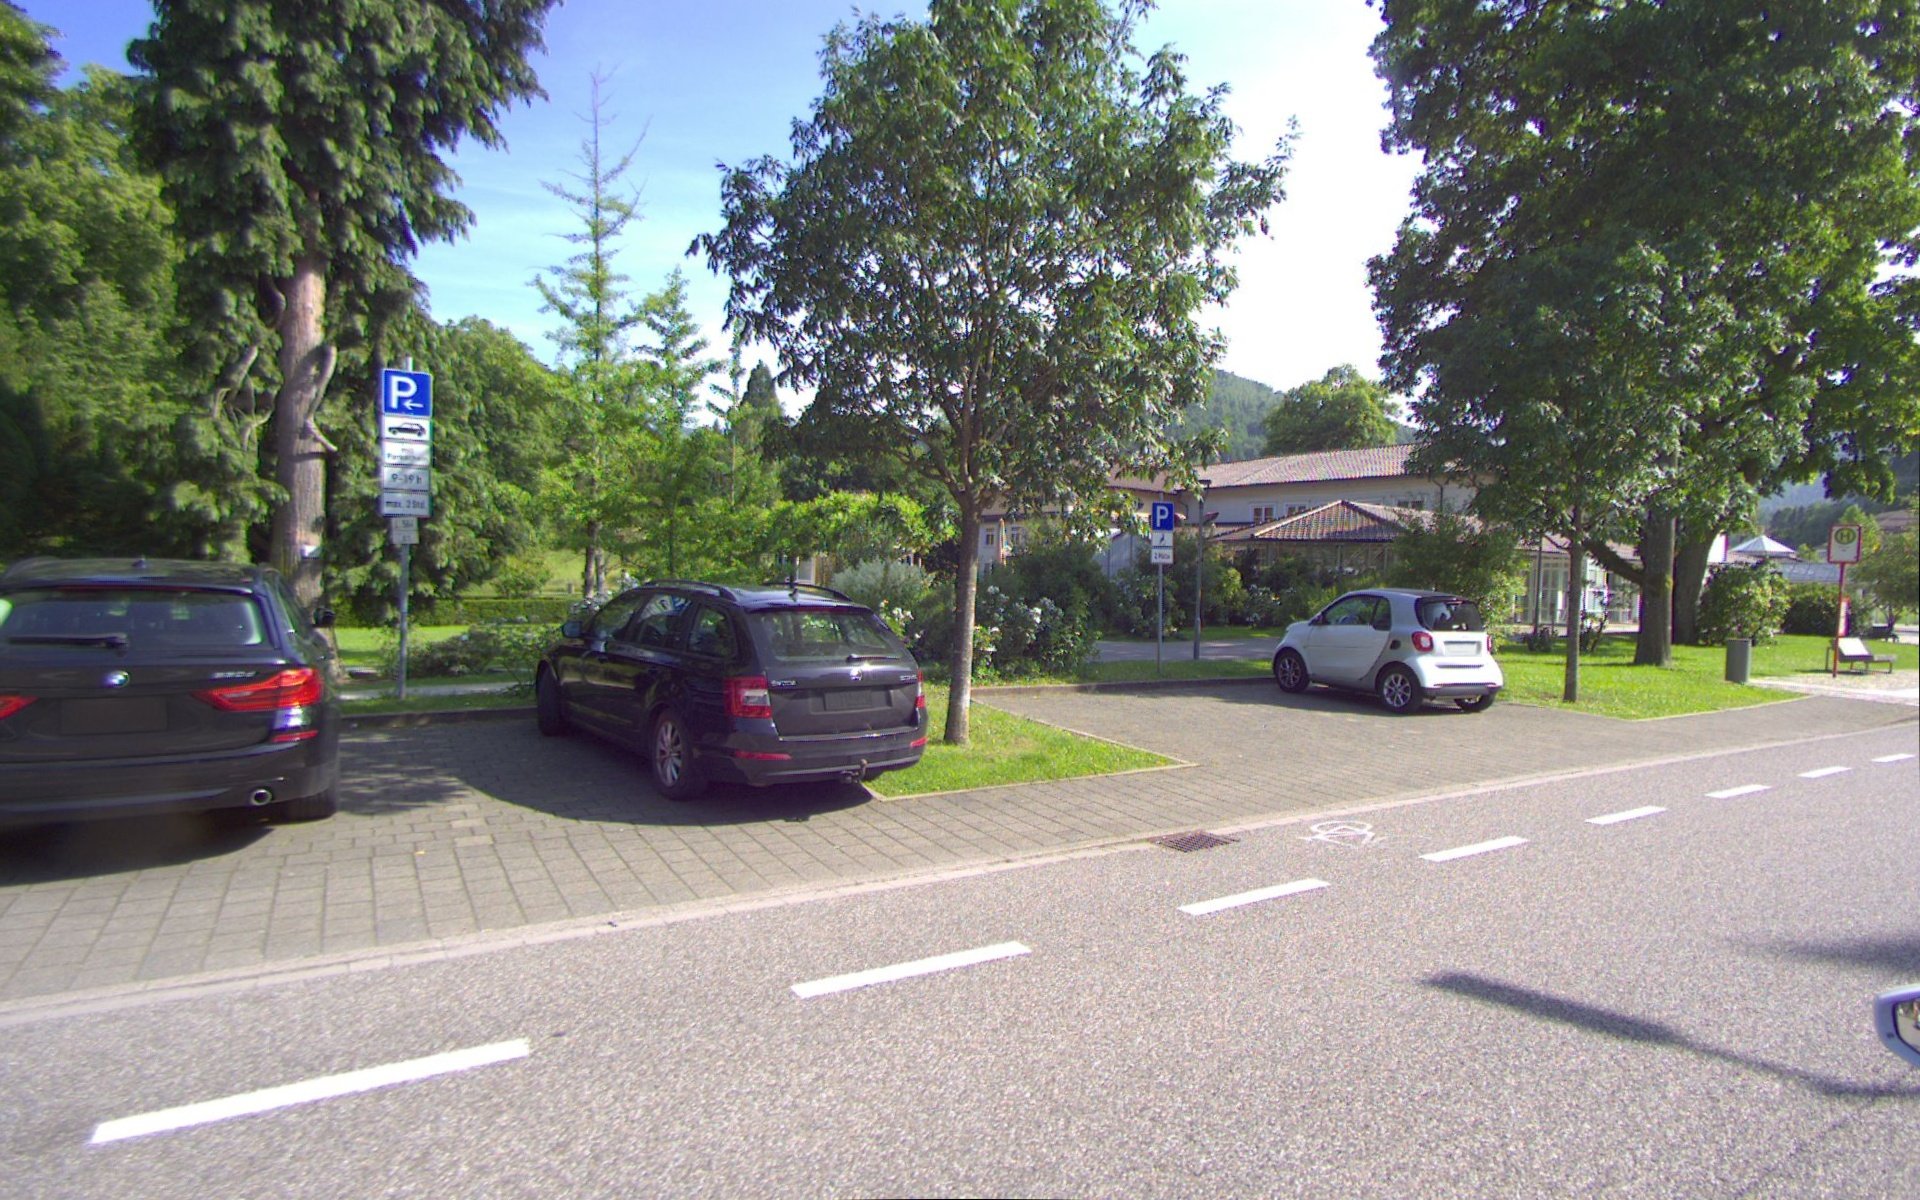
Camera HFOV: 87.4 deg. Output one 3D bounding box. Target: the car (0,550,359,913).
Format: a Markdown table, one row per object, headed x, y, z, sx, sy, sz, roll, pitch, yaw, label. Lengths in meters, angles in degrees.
| x | y | z | sx | sy | sz | roll | pitch | yaw | label |
| --- | --- | --- | --- | --- | --- | --- | --- | --- | --- |
| -4.976 | 0.495 | 6.533 | 1.694 | 1.530 | 4.467 | 1 | 3 | -33 | car |

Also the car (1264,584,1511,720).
| x | y | z | sx | sy | sz | roll | pitch | yaw | label |
| --- | --- | --- | --- | --- | --- | --- | --- | --- | --- |
| 5.827 | 0.638 | 13.930 | 1.660 | 1.568 | 2.641 | 1 | 3 | -26 | car |

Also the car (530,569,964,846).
| x | y | z | sx | sy | sz | roll | pitch | yaw | label |
| --- | --- | --- | --- | --- | --- | --- | --- | --- | --- |
| -1.957 | 0.583 | 8.027 | 1.698 | 1.451 | 4.242 | 1 | 3 | -38 | car |
